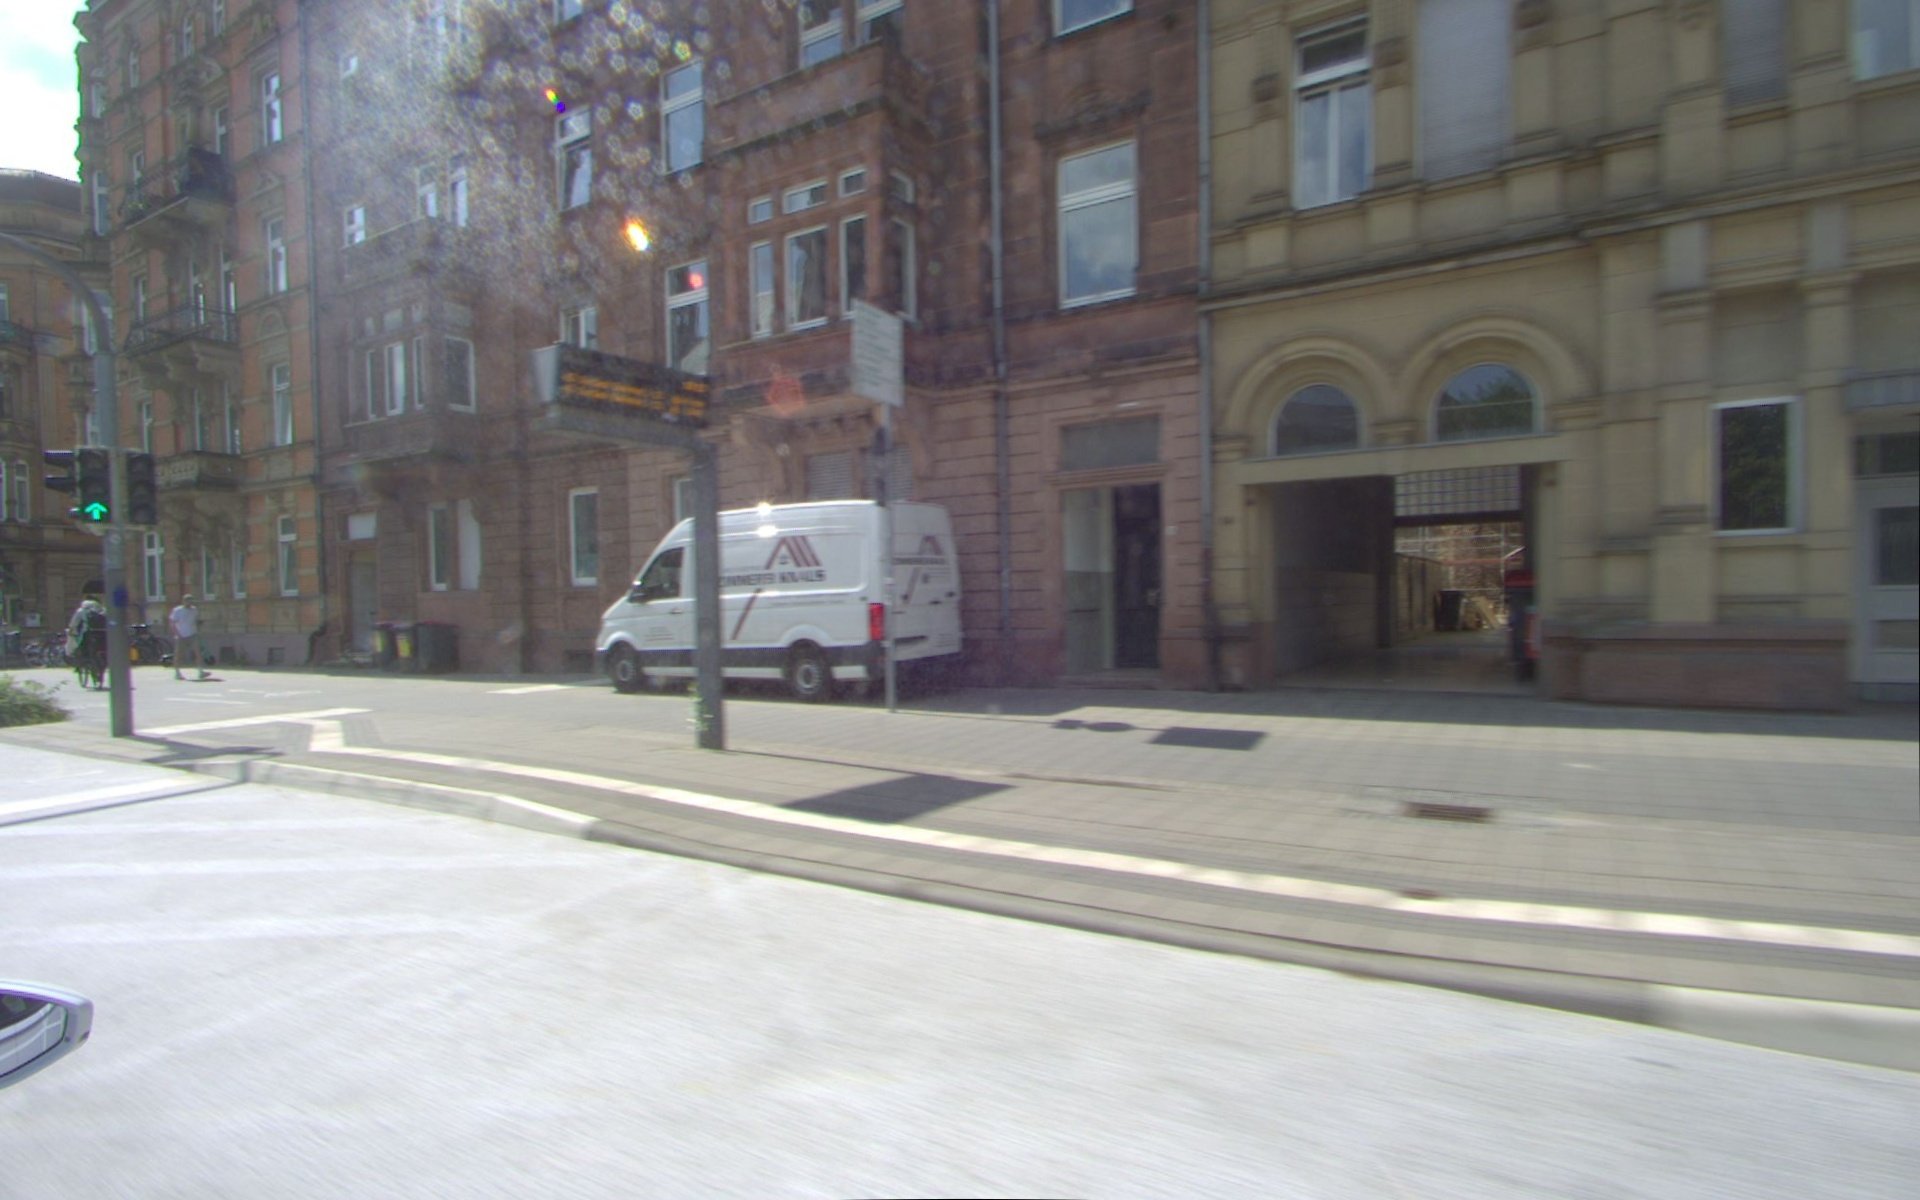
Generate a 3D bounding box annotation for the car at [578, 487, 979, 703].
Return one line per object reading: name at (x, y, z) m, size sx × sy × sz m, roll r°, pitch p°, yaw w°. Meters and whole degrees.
car at (-2.728, -0.033, 14.269) m, size 5.804 × 2.559 × 1.989 m, roll -1°, pitch 0°, yaw 32°

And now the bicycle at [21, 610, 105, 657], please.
bicycle at (-26.120, 0.950, 29.200) m, size 0.460 × 1.285 × 1.764 m, roll 2°, pitch 2°, yaw 35°

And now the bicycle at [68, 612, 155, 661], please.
bicycle at (-23.339, 0.982, 27.560) m, size 0.460 × 1.285 × 1.764 m, roll 2°, pitch 2°, yaw 35°

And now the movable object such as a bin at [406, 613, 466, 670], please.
movable object such as a bin at (-10.785, 0.846, 20.610) m, size 0.765 × 1.122 × 0.784 m, roll -1°, pitch 1°, yaw 30°

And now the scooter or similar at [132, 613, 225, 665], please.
scooter or similar at (-19.974, 0.989, 25.622) m, size 0.460 × 1.201 × 1.764 m, roll -1°, pitch 2°, yaw 32°

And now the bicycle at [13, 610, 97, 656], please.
bicycle at (-26.640, 0.948, 29.497) m, size 0.460 × 1.285 × 1.764 m, roll 2°, pitch 2°, yaw 35°

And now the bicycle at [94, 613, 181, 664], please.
bicycle at (-22.197, 1.024, 27.048) m, size 0.460 × 1.285 × 1.764 m, roll 2°, pitch 2°, yaw 35°

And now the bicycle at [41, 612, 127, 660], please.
bicycle at (-24.716, 0.992, 28.284) m, size 0.460 × 1.285 × 1.764 m, roll 2°, pitch 2°, yaw 35°

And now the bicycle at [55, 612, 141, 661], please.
bicycle at (-24.008, 1.005, 27.926) m, size 0.460 × 1.285 × 1.764 m, roll 2°, pitch 2°, yaw 35°

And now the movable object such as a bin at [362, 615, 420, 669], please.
movable object such as a bin at (-12.177, 0.884, 21.452) m, size 0.765 × 1.122 × 0.784 m, roll -1°, pitch 1°, yaw 30°

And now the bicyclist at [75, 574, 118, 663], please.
bicyclist at (-17.170, 0.360, 19.908) m, size 0.816 × 1.742 × 0.426 m, roll 1°, pitch 1°, yaw 33°

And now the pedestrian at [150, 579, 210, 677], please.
pedestrian at (-16.646, 0.580, 21.377) m, size 0.705 × 2.041 × 0.766 m, roll 0°, pitch 1°, yaw 33°

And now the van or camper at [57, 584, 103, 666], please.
van or camper at (-22.347, 0.634, 25.436) m, size 0.629 × 2.041 × 0.664 m, roll 0°, pitch 1°, yaw 32°

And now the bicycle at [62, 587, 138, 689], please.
bicycle at (-17.072, 0.739, 19.868) m, size 1.567 × 1.951 × 0.681 m, roll -1°, pitch 1°, yaw 33°

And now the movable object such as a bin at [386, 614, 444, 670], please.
movable object such as a bin at (-11.423, 0.874, 20.995) m, size 0.765 × 1.122 × 0.784 m, roll -1°, pitch 1°, yaw 30°

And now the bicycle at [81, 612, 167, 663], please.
bicycle at (-22.740, 1.000, 27.258) m, size 0.460 × 1.285 × 1.740 m, roll 2°, pitch 2°, yaw 35°

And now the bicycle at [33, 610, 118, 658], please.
bicycle at (-25.236, 0.958, 28.611) m, size 0.460 × 1.285 × 1.764 m, roll 2°, pitch 2°, yaw 35°
